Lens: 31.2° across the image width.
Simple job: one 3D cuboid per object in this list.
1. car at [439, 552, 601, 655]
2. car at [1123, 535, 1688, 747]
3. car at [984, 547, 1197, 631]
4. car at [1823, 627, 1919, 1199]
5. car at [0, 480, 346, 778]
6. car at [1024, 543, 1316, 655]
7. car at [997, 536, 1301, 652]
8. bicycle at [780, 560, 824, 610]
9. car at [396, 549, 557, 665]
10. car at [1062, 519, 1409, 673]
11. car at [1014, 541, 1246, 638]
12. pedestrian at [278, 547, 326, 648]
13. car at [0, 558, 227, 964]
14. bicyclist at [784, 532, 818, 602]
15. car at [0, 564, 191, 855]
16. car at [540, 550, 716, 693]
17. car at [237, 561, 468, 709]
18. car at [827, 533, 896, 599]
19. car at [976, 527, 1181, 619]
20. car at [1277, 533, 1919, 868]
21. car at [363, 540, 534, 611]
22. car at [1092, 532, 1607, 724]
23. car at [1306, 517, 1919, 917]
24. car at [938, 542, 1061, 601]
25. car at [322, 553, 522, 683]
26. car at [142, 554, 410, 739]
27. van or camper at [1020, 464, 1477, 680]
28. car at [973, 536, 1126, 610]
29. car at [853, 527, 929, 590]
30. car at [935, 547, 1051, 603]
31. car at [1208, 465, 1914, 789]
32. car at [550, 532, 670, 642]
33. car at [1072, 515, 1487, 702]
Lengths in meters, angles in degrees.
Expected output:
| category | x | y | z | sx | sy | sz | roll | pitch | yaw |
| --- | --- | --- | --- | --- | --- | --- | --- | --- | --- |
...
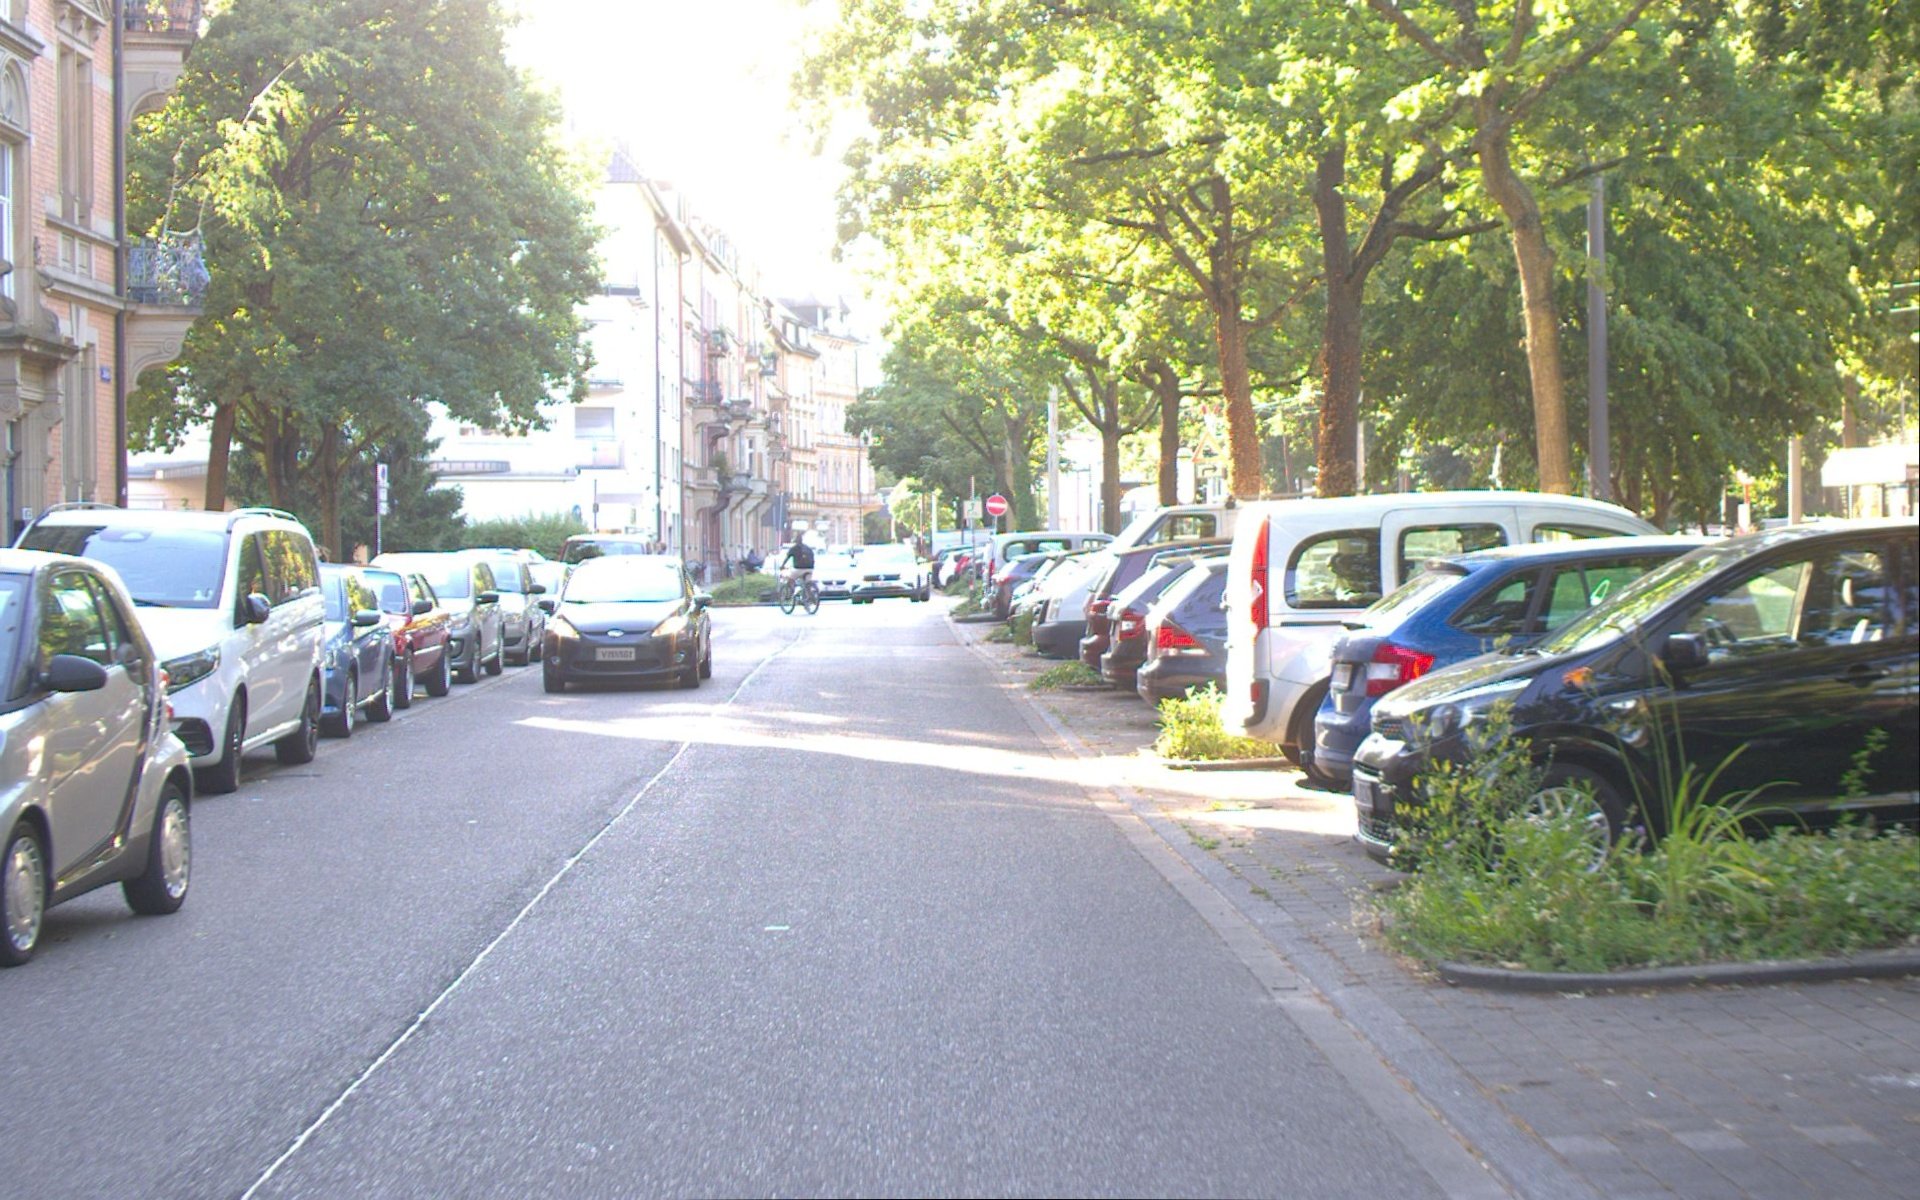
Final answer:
| category | x | y | z | sx | sy | sz | roll | pitch | yaw |
| --- | --- | --- | --- | --- | --- | --- | --- | --- | --- |
| car | -6.544 | 0.021 | 51.512 | 1.756 | 1.461 | 4.268 | 0 | 1 | 2 |
| car | 3.426 | 0.300 | 26.971 | 4.220 | 1.448 | 1.649 | -2 | 1 | 3 |
| car | 2.522 | -0.203 | 67.105 | 3.986 | 1.558 | 1.859 | 1 | -1 | -4 |
| car | 3.909 | 0.664 | 6.971 | 3.842 | 1.274 | 1.691 | -1 | 1 | -2 |
| car | -5.786 | 0.220 | 24.752 | 1.993 | 1.914 | 5.040 | 0 | -1 | -2 |
| car | 2.992 | -0.002 | 49.495 | 3.986 | 1.543 | 1.859 | 1 | -1 | -4 |
| car | 2.830 | -0.079 | 52.109 | 4.389 | 1.694 | 1.859 | 1 | -1 | -4 |
| bicycle | -3.610 | -0.329 | 78.292 | 0.641 | 1.096 | 1.944 | 1 | -1 | -14 |
| car | -6.556 | 0.064 | 46.952 | 1.756 | 1.510 | 4.162 | 0 | 1 | -2 |
| car | 3.329 | -0.062 | 42.068 | 3.986 | 1.811 | 1.859 | 1 | 1 | -4 |
| car | 3.046 | -0.173 | 62.139 | 3.986 | 1.694 | 1.859 | 1 | -1 | -4 |
| pedestrian | -10.341 | -0.038 | 54.011 | 0.597 | 1.545 | 0.708 | -1 | 3 | -1 |
| car | -4.048 | 0.576 | 13.639 | 1.504 | 1.430 | 2.753 | -2 | 1 | 4 |
| bicyclist | -3.626 | -0.757 | 78.381 | 0.627 | 1.568 | 0.802 | 1 | -1 | -14 |
| car | -5.678 | 0.561 | 19.484 | 1.674 | 1.449 | 4.210 | -2 | 1 | 0 |
| car | -3.665 | 0.196 | 38.478 | 1.668 | 1.459 | 4.000 | -2 | 1 | -2 |
| car | -6.208 | 0.316 | 35.546 | 1.670 | 1.425 | 4.241 | 0 | 1 | -1 |
| car | -2.944 | -0.979 | 101.846 | 1.993 | 1.832 | 4.000 | 0 | -1 | -2 |
| car | 2.381 | -0.530 | 69.777 | 3.986 | 1.788 | 1.859 | 1 | -1 | -4 |
| car | 3.754 | 0.435 | 17.013 | 4.081 | 1.437 | 1.762 | -2 | 1 | -3 |
| car | -12.852 | -0.604 | 86.573 | 3.987 | 1.700 | 2.000 | 0 | -1 | 0 |
| car | 3.313 | 0.226 | 29.865 | 4.220 | 1.448 | 1.865 | -2 | 1 | 0 |
| car | 3.412 | 0.425 | 14.497 | 3.674 | 1.496 | 1.762 | -2 | 1 | 0 |
| car | 1.397 | -1.008 | 120.400 | 3.989 | 2.007 | 1.999 | 0 | -1 | 11 |
| car | -6.357 | 0.175 | 40.980 | 1.704 | 1.424 | 3.877 | 2 | 1 | 0 |
| car | -5.955 | 0.357 | 30.316 | 1.669 | 1.481 | 4.000 | 1 | 1 | -2 |
| van or camper | 3.253 | -0.291 | 39.499 | 4.981 | 2.369 | 2.185 | 0 | -1 | -2 |
| car | 2.510 | -0.752 | 95.733 | 3.989 | 2.007 | 1.999 | 0 | -1 | 11 |
| car | -1.860 | -1.137 | 94.201 | 1.778 | 1.668 | 4.486 | 0 | 1 | 3 |
| car | 1.234 | -0.908 | 127.258 | 3.989 | 2.007 | 1.999 | 0 | -1 | 11 |
| car | 3.816 | 0.159 | 22.354 | 4.220 | 1.857 | 1.762 | -2 | 1 | 0 |
| car | -6.656 | -0.270 | 65.703 | 1.957 | 2.011 | 4.268 | 0 | 1 | -1 |
| car | 3.196 | 0.070 | 34.940 | 3.987 | 1.685 | 1.859 | -2 | 1 | 0 |
